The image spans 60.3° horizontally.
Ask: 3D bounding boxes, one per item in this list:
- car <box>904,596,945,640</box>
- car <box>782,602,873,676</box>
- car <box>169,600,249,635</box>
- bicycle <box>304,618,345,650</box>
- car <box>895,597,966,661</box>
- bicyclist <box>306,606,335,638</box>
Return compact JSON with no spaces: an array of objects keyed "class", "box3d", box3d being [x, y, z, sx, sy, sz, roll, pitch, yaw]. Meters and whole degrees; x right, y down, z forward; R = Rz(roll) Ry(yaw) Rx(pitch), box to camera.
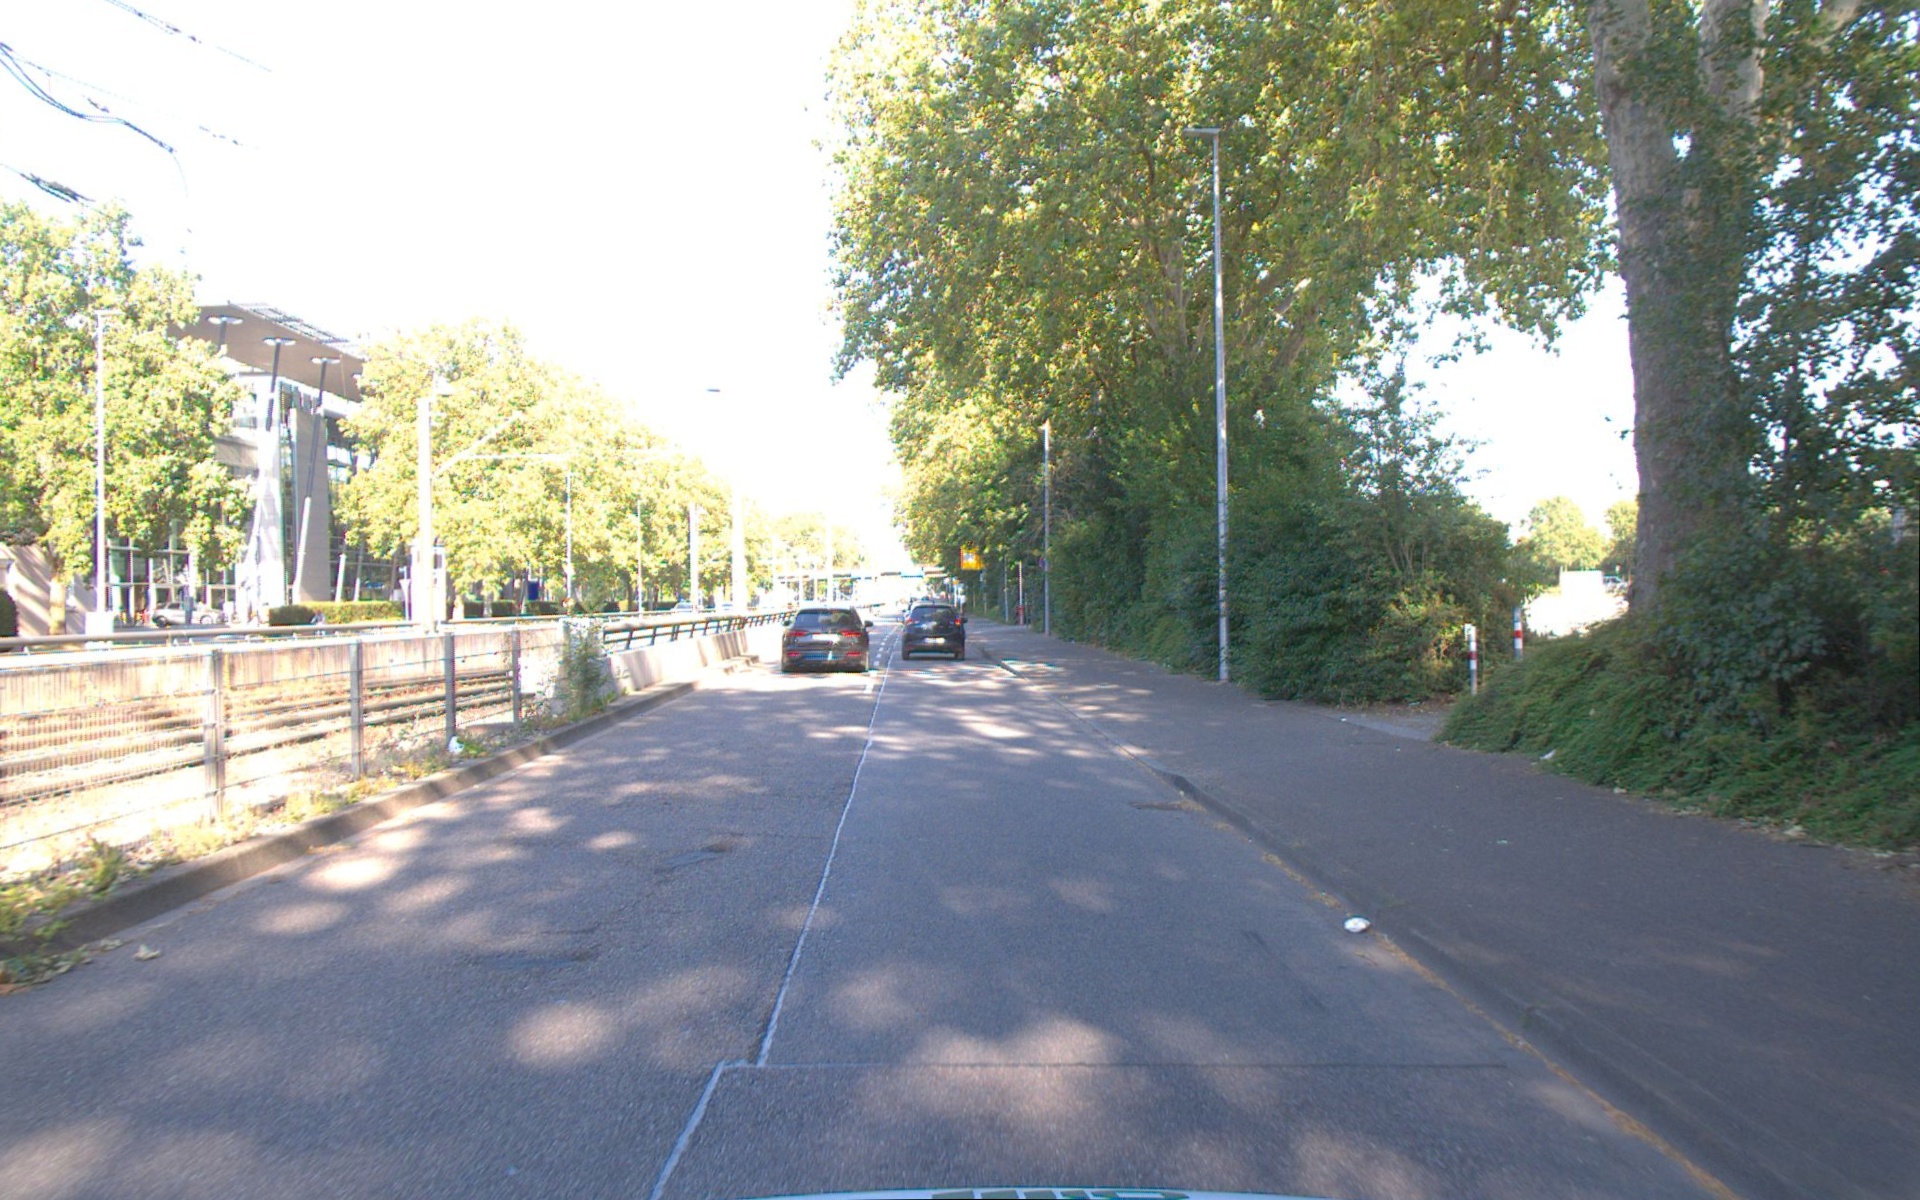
[{"class":"car","box3d":[-1.719,0.859,80.547,1.953,2.049,3.999,-1,0,-1]},{"class":"car","box3d":[-2.802,0.802,35.572,1.841,1.482,3.354,-1,0,-3]},{"class":"car","box3d":[-45.243,1.051,99.707,3.907,2.049,1.999,-1,0,-2]},{"class":"bicycle","box3d":[-30.658,1.626,79.846,0.911,1.512,3.175,-1,0,-3]},{"class":"car","box3d":[-0.837,0.748,44.619,1.727,1.647,3.997,-1,0,-3]},{"class":"bicyclist","box3d":[-30.706,1.047,79.414,0.911,1.512,1.271,-1,0,-3]}]
